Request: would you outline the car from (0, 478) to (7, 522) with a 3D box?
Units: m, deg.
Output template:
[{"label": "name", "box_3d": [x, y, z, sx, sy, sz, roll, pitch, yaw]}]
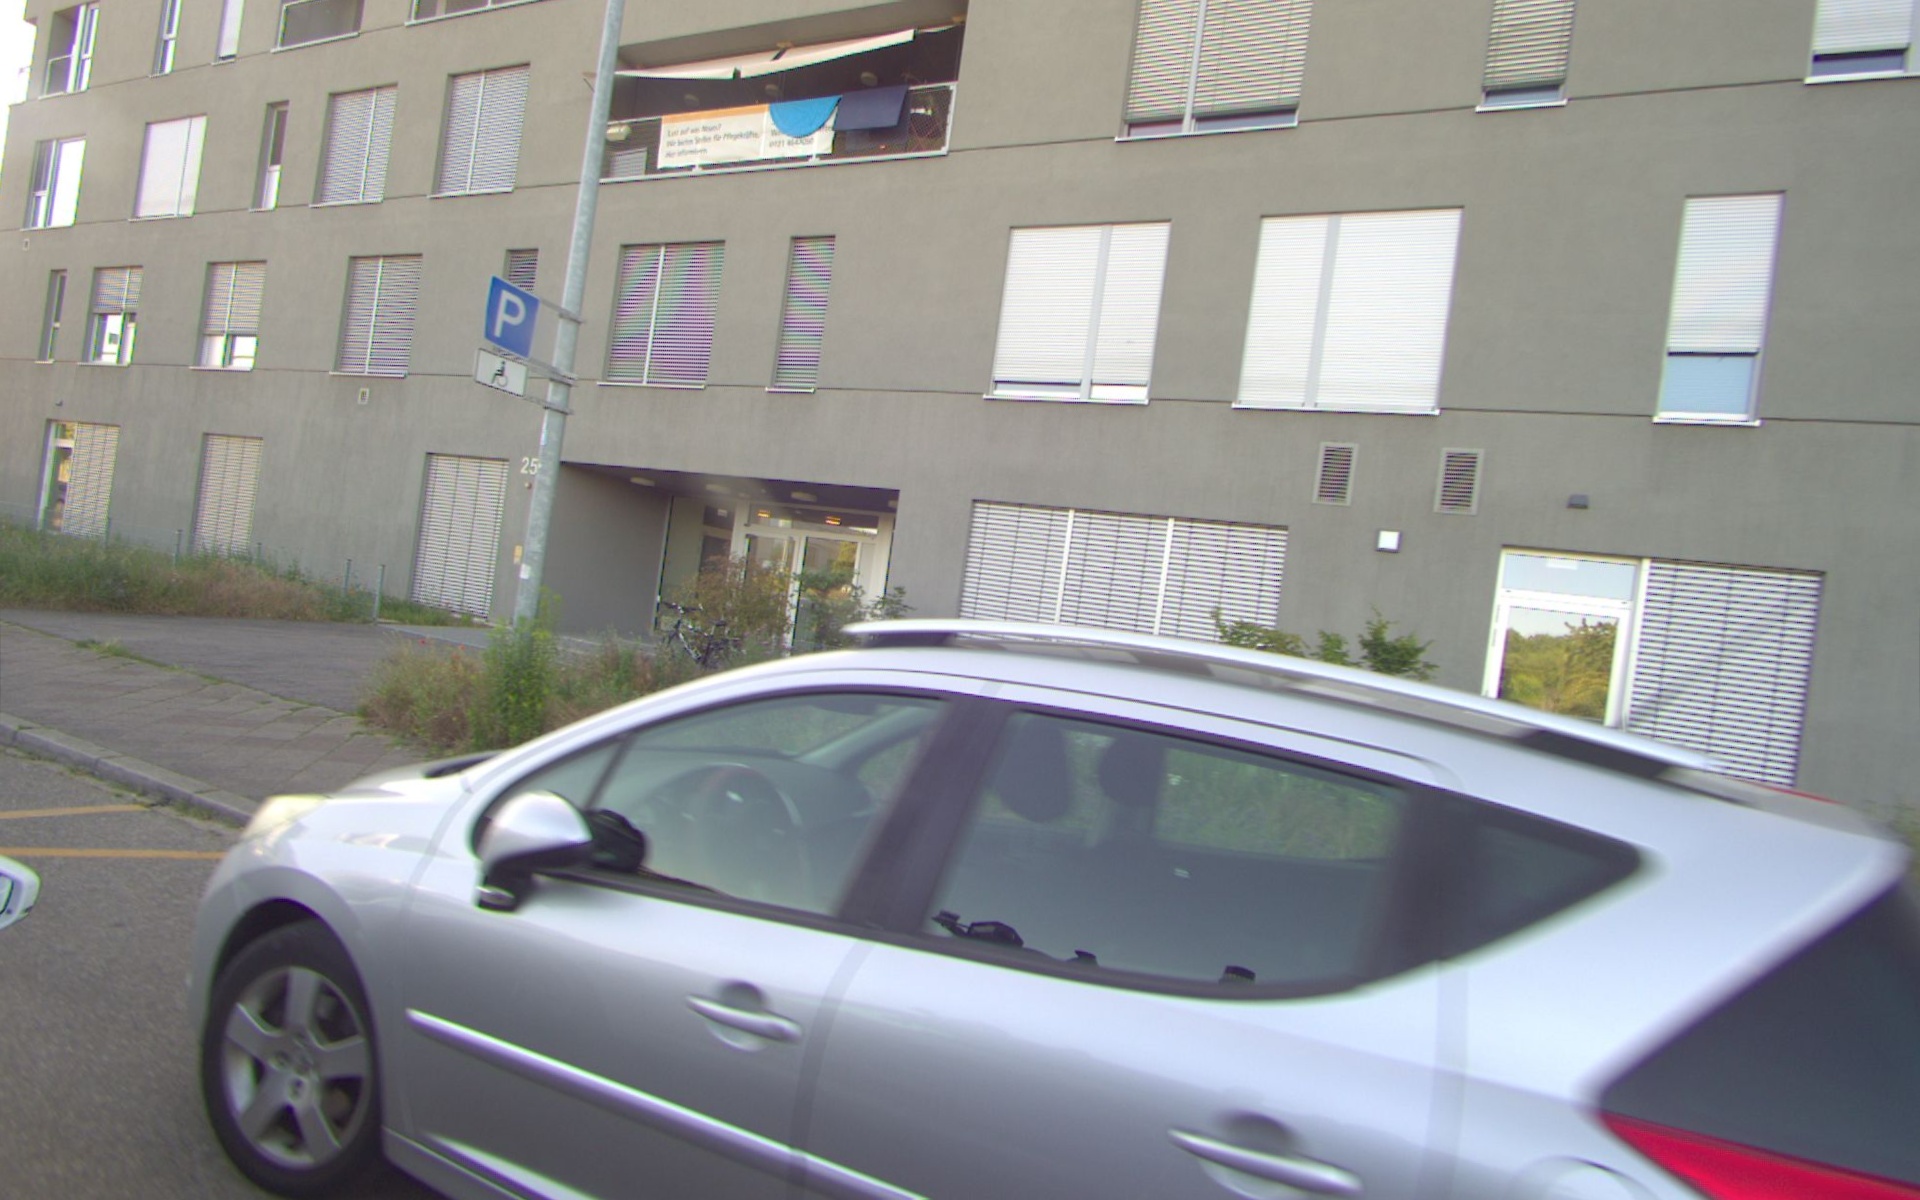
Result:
[{"label": "car", "box_3d": [-34.305, -3.658, 33.463, 1.686, 1.475, 3.333, 8, -1, 31]}]

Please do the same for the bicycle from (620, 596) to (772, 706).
[{"label": "bicycle", "box_3d": [-3.265, 0.619, 12.378, 1.810, 1.073, 0.553, 8, -1, 30]}]

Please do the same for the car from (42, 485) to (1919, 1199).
[{"label": "car", "box_3d": [-0.126, 0.804, 2.514, 4.082, 1.542, 1.713, 8, -3, 27]}]
